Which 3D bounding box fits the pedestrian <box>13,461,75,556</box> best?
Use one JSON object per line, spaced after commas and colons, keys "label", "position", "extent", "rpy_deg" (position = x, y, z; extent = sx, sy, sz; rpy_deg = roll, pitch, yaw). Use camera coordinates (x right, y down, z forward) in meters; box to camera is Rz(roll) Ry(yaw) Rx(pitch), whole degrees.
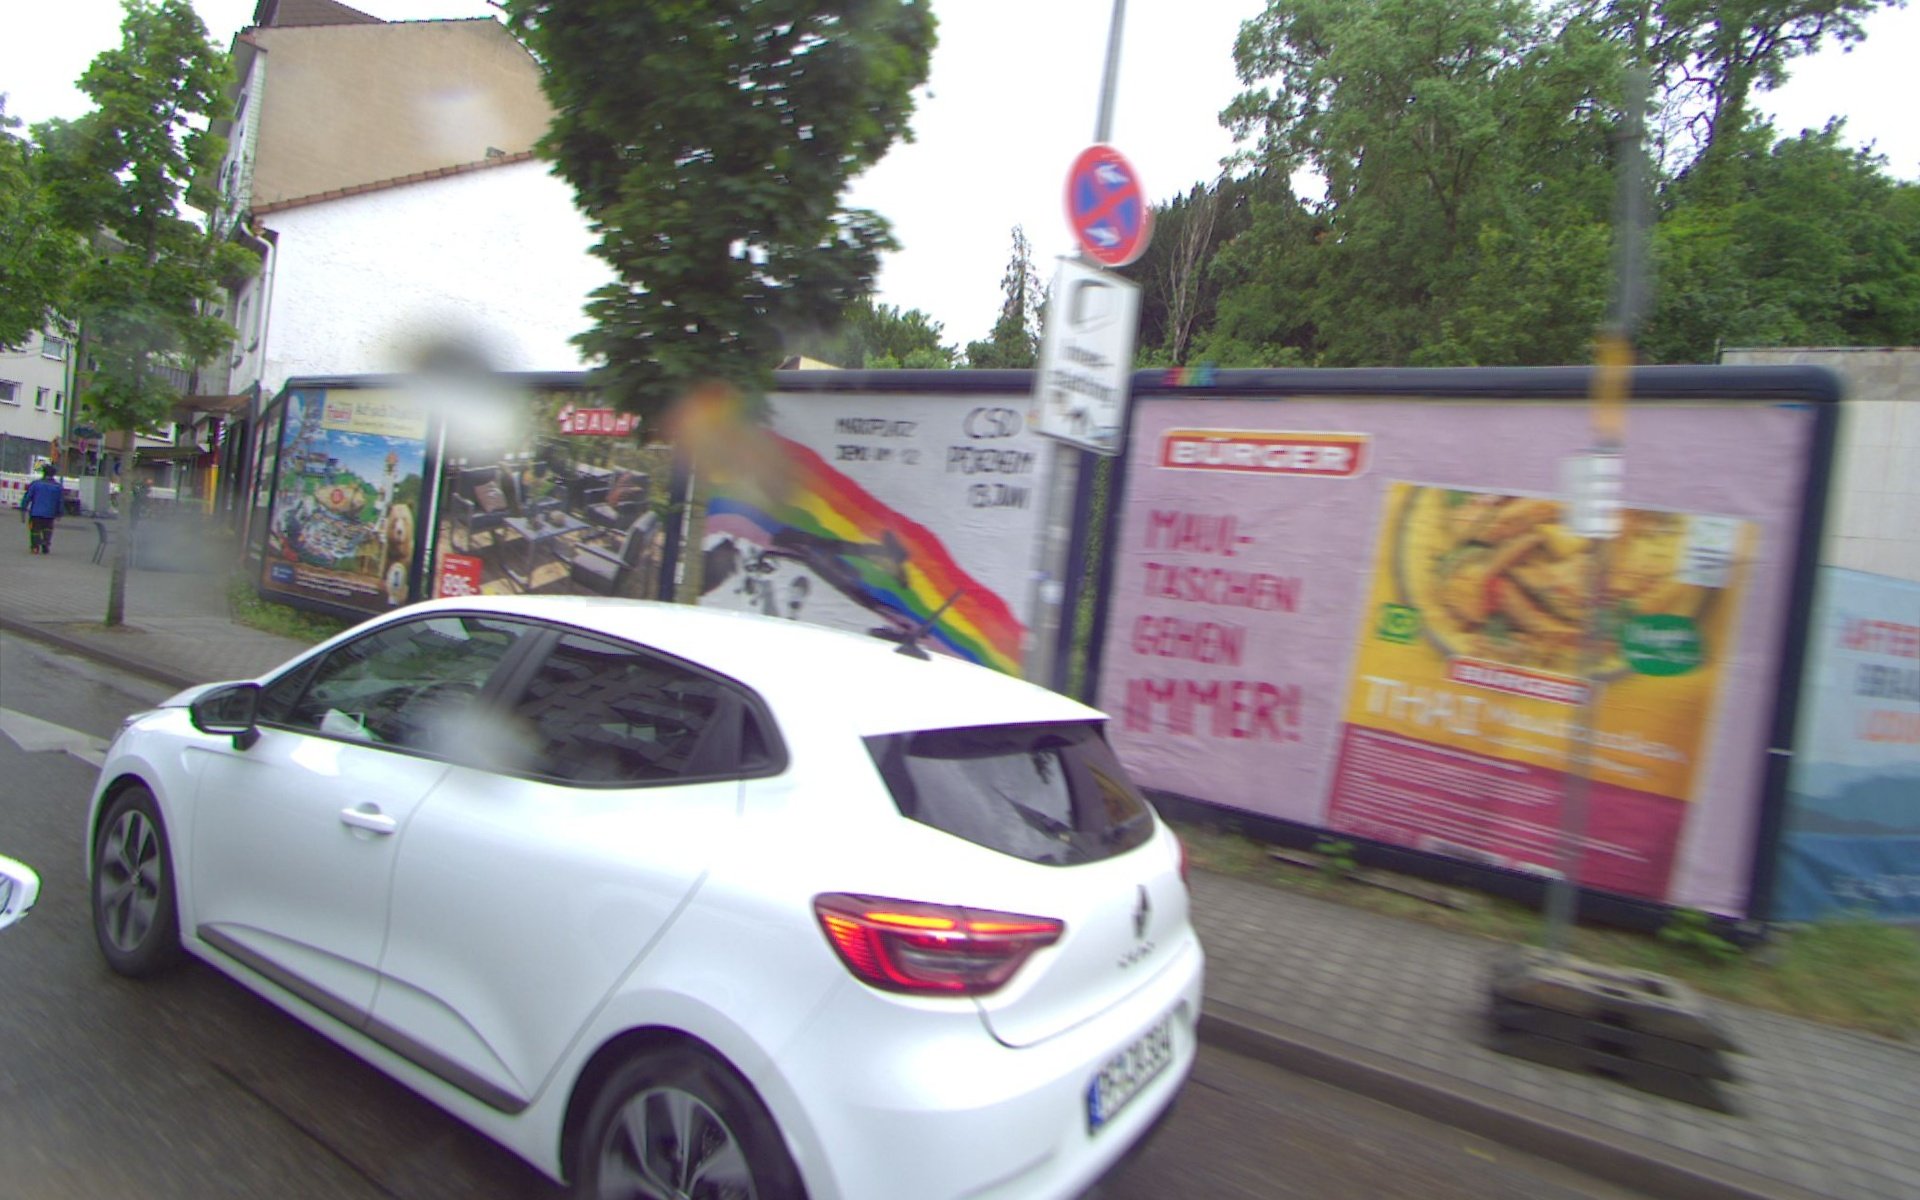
{"label": "pedestrian", "position": [-18.371, -1.826, 20.180], "extent": [0.860, 1.778, 0.789], "rpy_deg": [8, 3, 44]}

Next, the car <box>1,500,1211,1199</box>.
{"label": "car", "position": [-1.361, 0.624, 3.336], "extent": [3.802, 1.414, 1.666], "rpy_deg": [9, 2, 31]}
